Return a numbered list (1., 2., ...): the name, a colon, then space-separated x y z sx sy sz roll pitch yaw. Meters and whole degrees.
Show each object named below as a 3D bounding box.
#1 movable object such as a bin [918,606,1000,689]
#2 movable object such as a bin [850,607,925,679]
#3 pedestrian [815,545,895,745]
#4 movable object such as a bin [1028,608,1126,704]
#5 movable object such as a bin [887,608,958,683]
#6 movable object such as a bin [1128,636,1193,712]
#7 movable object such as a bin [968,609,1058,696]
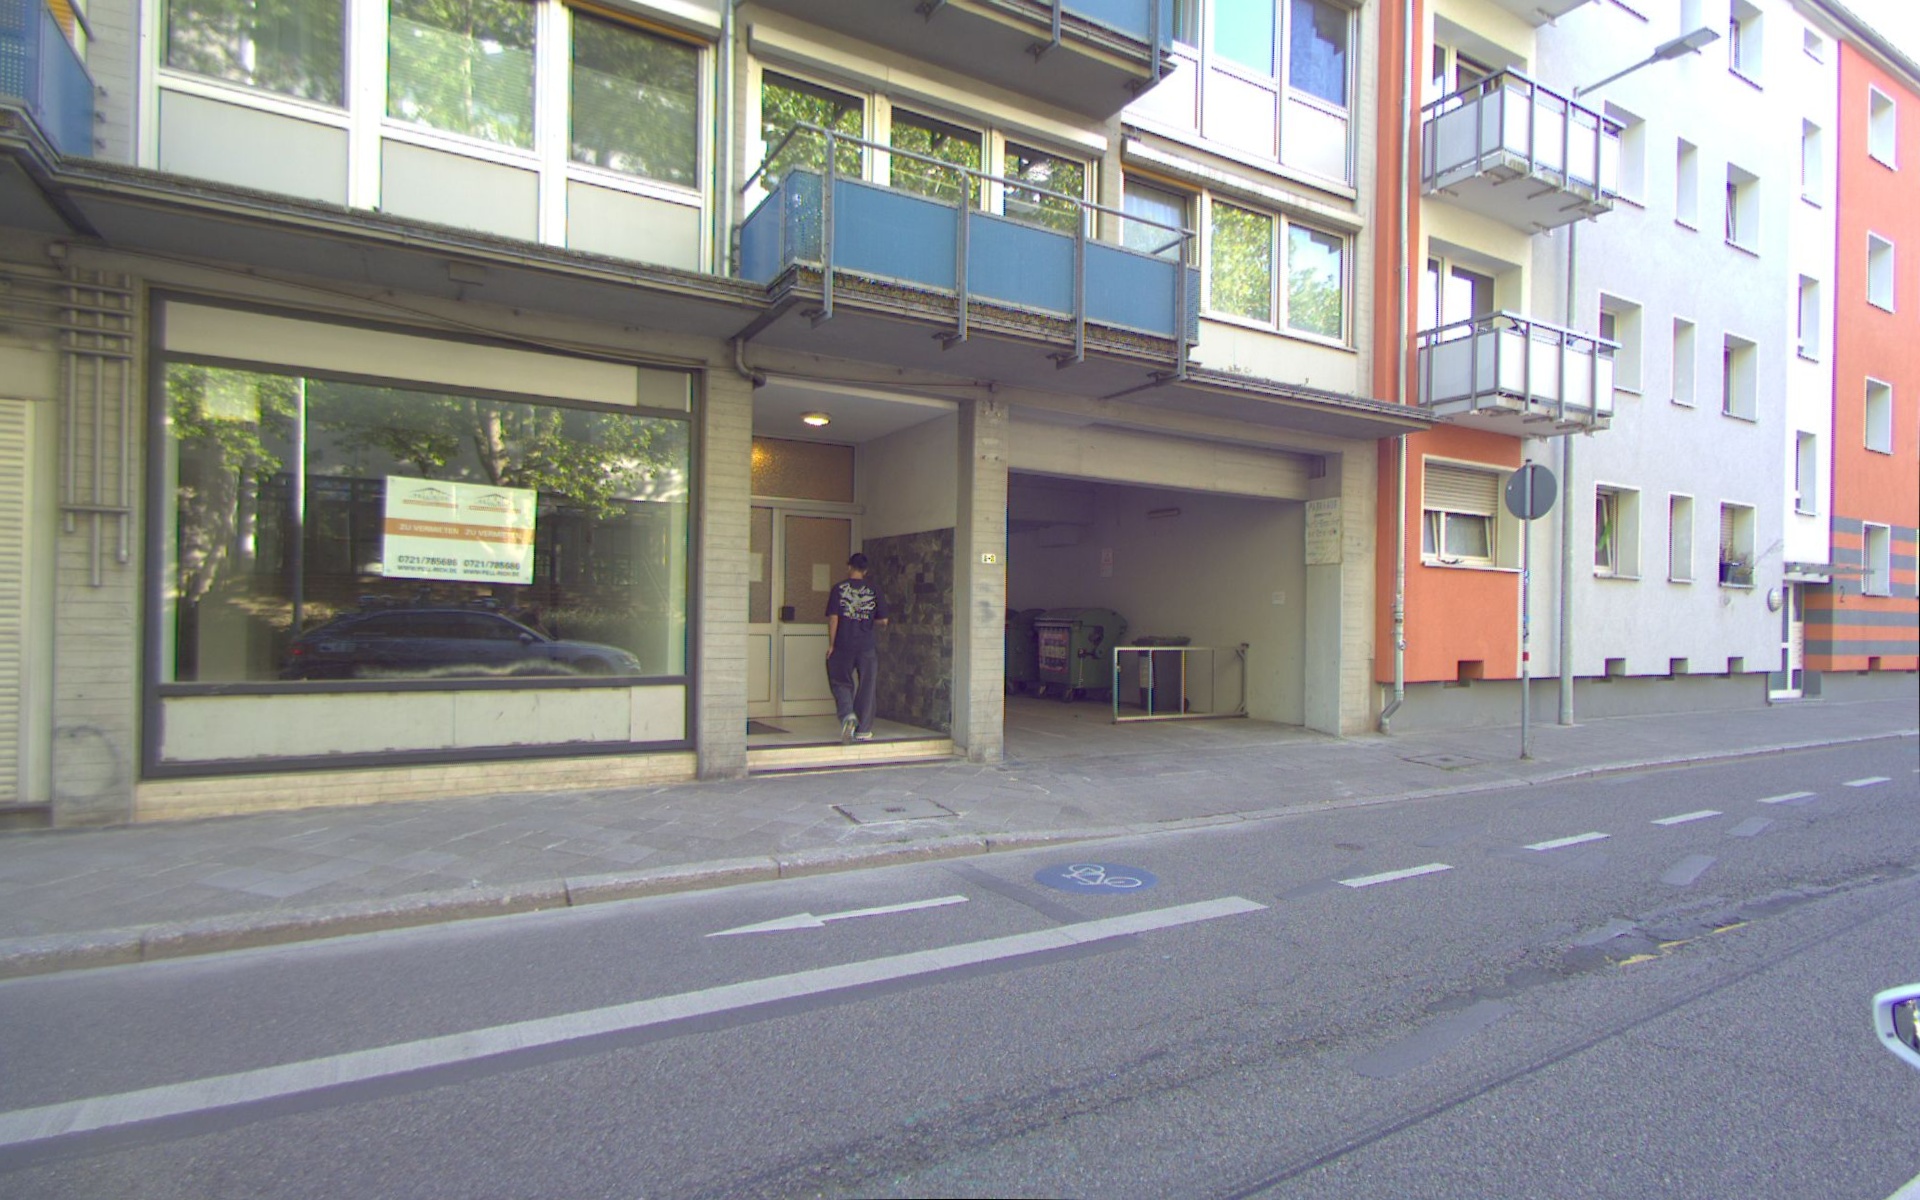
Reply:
1. movable object such as a bin: -0.034 0.852 18.665 1.011 1.462 1.318 1 0 -29
2. movable object such as a bin: -1.500 0.867 20.655 1.014 1.409 1.264 1 0 -37
3. pedestrian: -0.972 0.403 9.226 0.620 1.764 0.526 1 0 -16
4. movable object such as a bin: 1.824 0.854 15.830 1.009 1.438 1.321 1 0 -23
5. movable object such as a bin: -0.737 0.877 19.682 1.012 1.409 1.046 1 0 -31
6. movable object such as a bin: 2.883 1.052 14.486 0.704 1.054 0.583 1 0 -30
7. movable object such as a bin: 0.888 0.874 17.160 1.011 1.409 1.319 1 0 -27
